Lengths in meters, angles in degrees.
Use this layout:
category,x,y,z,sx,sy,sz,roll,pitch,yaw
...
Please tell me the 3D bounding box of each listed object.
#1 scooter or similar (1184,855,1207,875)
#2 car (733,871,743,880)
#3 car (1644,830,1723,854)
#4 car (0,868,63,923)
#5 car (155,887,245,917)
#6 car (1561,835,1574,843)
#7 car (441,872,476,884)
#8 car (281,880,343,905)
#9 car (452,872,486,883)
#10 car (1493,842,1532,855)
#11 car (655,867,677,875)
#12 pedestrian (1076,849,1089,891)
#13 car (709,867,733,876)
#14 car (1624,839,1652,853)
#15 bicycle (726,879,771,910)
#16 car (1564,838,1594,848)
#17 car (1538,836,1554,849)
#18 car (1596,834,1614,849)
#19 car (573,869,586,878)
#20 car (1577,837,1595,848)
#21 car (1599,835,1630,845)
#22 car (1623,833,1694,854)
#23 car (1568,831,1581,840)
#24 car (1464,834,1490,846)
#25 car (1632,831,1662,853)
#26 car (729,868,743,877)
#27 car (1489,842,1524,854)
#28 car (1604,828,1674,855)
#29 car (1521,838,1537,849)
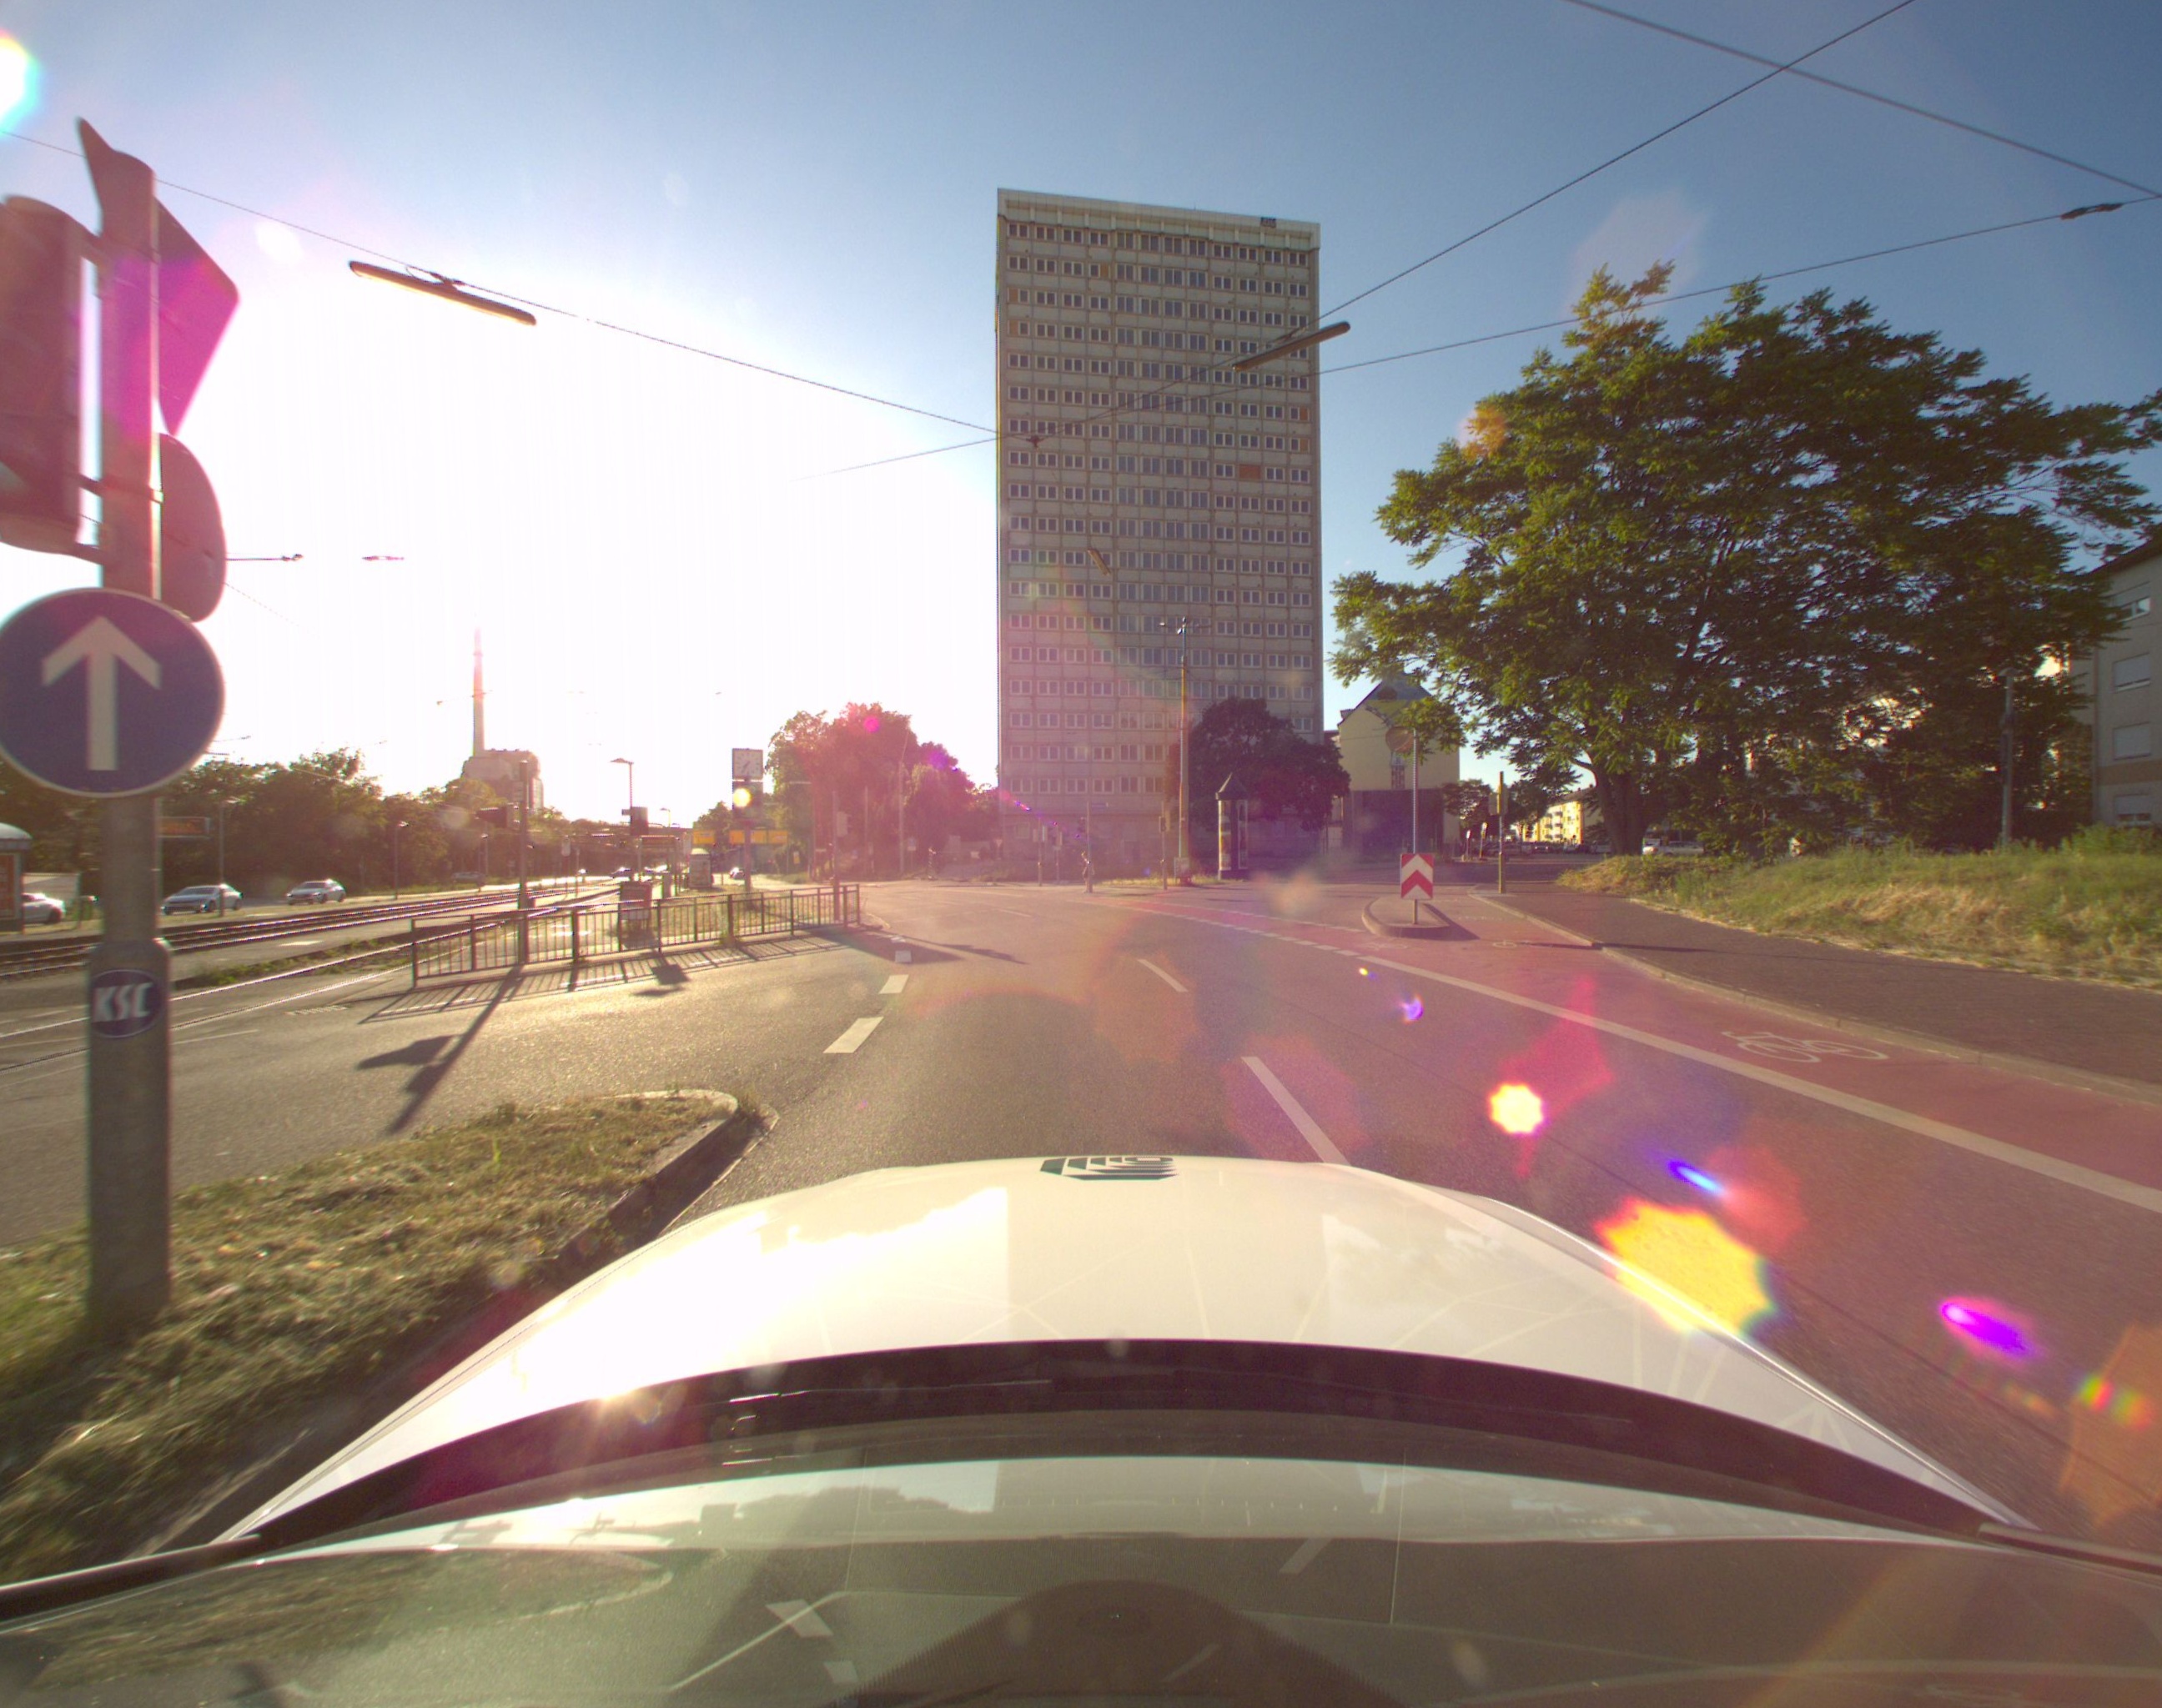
category,x,y,z,sx,sy,sz,roll,pitch,yaw
scooter or similar,6.943,0.661,49.435,1.295,1.170,0.326,-2,0,-6
car,-57.569,3.548,136.781,1.522,1.387,3.336,-1,1,-24
car,43.442,-0.876,58.787,4.189,1.563,1.783,-2,0,7
car,-41.206,1.588,30.492,2.001,2.013,4.131,-2,0,-21
car,-47.046,2.551,43.608,1.809,1.367,3.935,-1,0,-23
car,91.994,-2.853,153.996,1.841,1.543,4.025,-2,0,29
car,-98.662,3.832,129.078,1.974,1.750,4.026,-2,0,38
car,-51.995,2.553,55.150,1.664,1.532,4.356,-1,0,-24
car,-99.725,3.818,132.816,1.974,1.750,4.026,-2,0,38
car,47.612,-0.608,89.983,3.667,1.301,1.520,-1,0,24
car,-87.169,3.615,171.213,4.009,1.446,1.758,-2,0,-27
pedestrian,0.064,0.623,32.159,0.434,1.612,0.631,-2,0,4
car,-85.367,4.128,193.161,4.843,2.013,1.995,0,1,-8
car,58.141,-0.868,85.043,1.866,1.385,4.024,0,1,26
bicycle,-11.069,1.345,27.166,0.550,0.918,1.746,-3,0,7
car,82.292,-1.765,134.565,4.010,1.458,1.891,-2,0,26
car,70.799,-1.823,123.921,1.841,1.903,4.026,-2,0,32
car,68.613,-1.602,106.653,1.841,1.904,4.026,-2,0,32
car,-111.799,4.320,181.550,2.003,2.014,3.968,-1,0,-24
car,76.621,-1.727,123.547,1.911,1.543,4.024,-2,0,26
car,84.573,-2.207,129.145,4.010,1.458,1.891,-2,0,26
car,43.937,-0.779,62.006,3.971,1.426,1.904,-2,0,2
car,85.520,-3.222,141.156,1.841,1.543,3.903,-2,0,29
car,67.860,-2.422,139.554,3.949,1.903,1.876,-2,0,29
car,52.578,-1.127,75.699,1.974,2.013,4.025,0,1,30
car,-60.805,3.276,143.468,2.048,1.446,3.966,-2,0,-26
car,50.743,-0.750,97.099,3.515,1.350,1.717,-2,0,23
car,44.914,-1.018,65.616,4.195,2.013,2.002,-2,0,3
car,63.239,-1.503,115.036,1.856,1.458,3.810,-2,1,28
